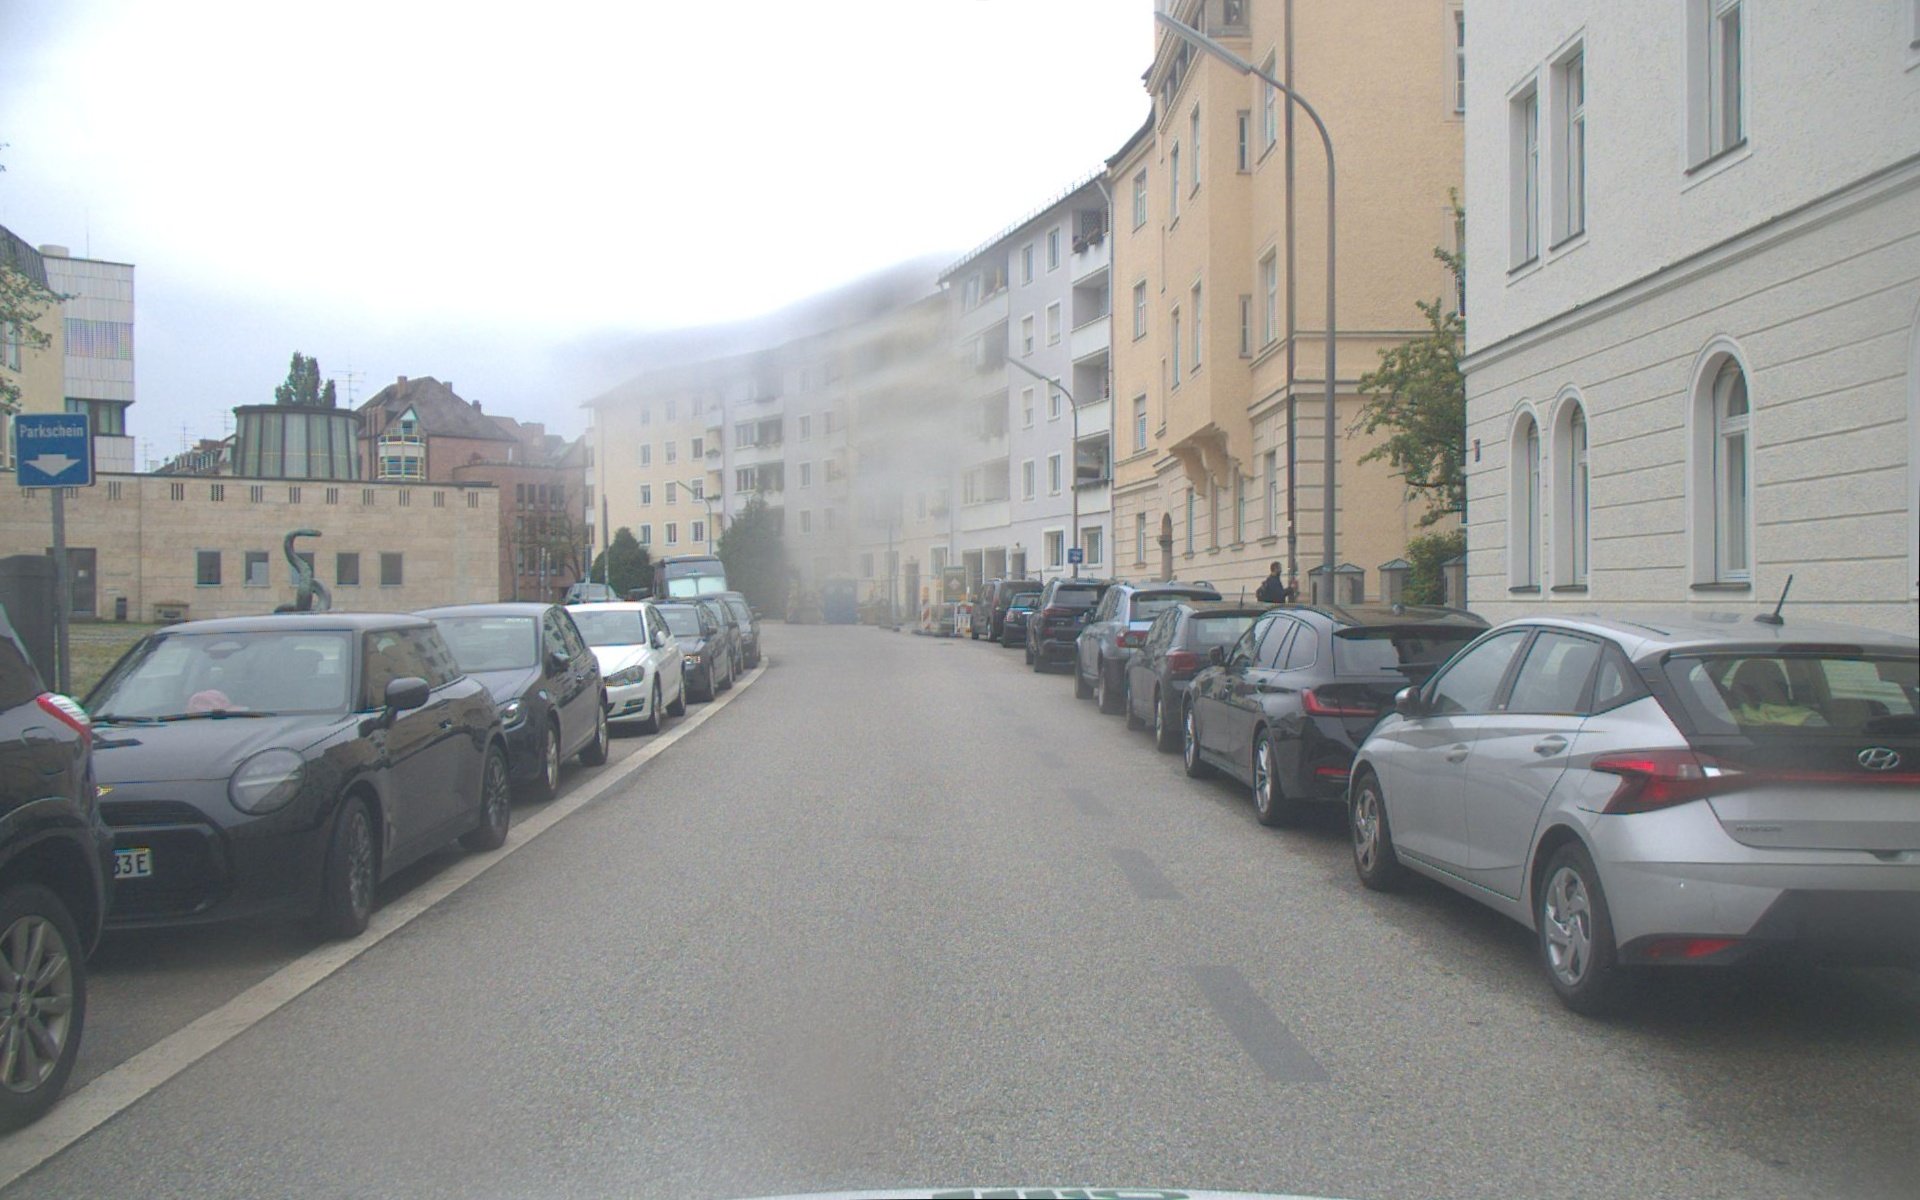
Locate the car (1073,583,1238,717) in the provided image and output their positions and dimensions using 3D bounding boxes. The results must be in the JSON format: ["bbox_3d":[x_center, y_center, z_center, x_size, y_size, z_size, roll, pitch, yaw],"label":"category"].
[{"bbox_3d":[2.541,0.593,22.422,1.558,1.610,4.297,1,0,-2],"label":"car"}]

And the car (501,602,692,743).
[{"bbox_3d":[-4.157,0.764,19.442,1.591,1.444,3.978,-1,0,-4],"label":"car"}]

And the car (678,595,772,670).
[{"bbox_3d":[-4.833,0.631,34.390,1.591,1.444,3.646,-1,0,-3],"label":"car"}]

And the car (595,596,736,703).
[{"bbox_3d":[-4.363,0.682,25.020,1.591,1.444,3.979,-1,0,-3],"label":"car"}]

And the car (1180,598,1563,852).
[{"bbox_3d":[2.766,0.752,12.132,1.558,1.457,4.419,1,0,-2],"label":"car"}]

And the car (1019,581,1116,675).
[{"bbox_3d":[2.018,0.484,31.994,1.444,1.669,3.999,1,0,-2],"label":"car"}]

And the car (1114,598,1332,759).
[{"bbox_3d":[2.648,0.736,17.442,1.558,1.457,3.824,1,0,-2],"label":"car"}]

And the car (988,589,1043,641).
[{"bbox_3d":[1.445,0.382,43.896,1.246,1.321,2.796,0,0,-2],"label":"car"}]

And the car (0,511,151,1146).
[{"bbox_3d":[-3.422,0.658,3.306,1.667,1.720,4.026,-2,1,-2],"label":"car"}]

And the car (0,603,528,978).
[{"bbox_3d":[-3.498,0.774,8.552,1.591,1.437,3.797,-2,0,-2],"label":"car"}]

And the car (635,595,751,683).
[{"bbox_3d":[-4.722,0.647,29.687,1.591,1.444,3.979,-1,0,-3],"label":"car"}]

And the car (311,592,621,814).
[{"bbox_3d":[-3.898,0.719,13.693,1.591,1.535,3.978,-1,0,-4],"label":"car"}]

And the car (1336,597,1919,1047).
[{"bbox_3d":[3.027,0.749,7.407,1.658,1.457,3.943,1,0,-2],"label":"car"}]

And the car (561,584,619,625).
[{"bbox_3d":[-16.034,0.187,71.597,1.581,1.677,3.111,2,-1,-29],"label":"car"}]

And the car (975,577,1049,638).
[{"bbox_3d":[1.510,0.200,49.041,1.573,1.745,3.082,1,0,-10],"label":"car"}]

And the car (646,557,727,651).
[{"bbox_3d":[-8.247,0.098,49.633,1.744,2.700,3.978,0,0,-19],"label":"car"}]

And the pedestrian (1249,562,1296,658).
[{"bbox_3d":[5.688,0.182,30.124,0.653,1.722,0.690,2,-1,-1],"label":"pedestrian"}]
